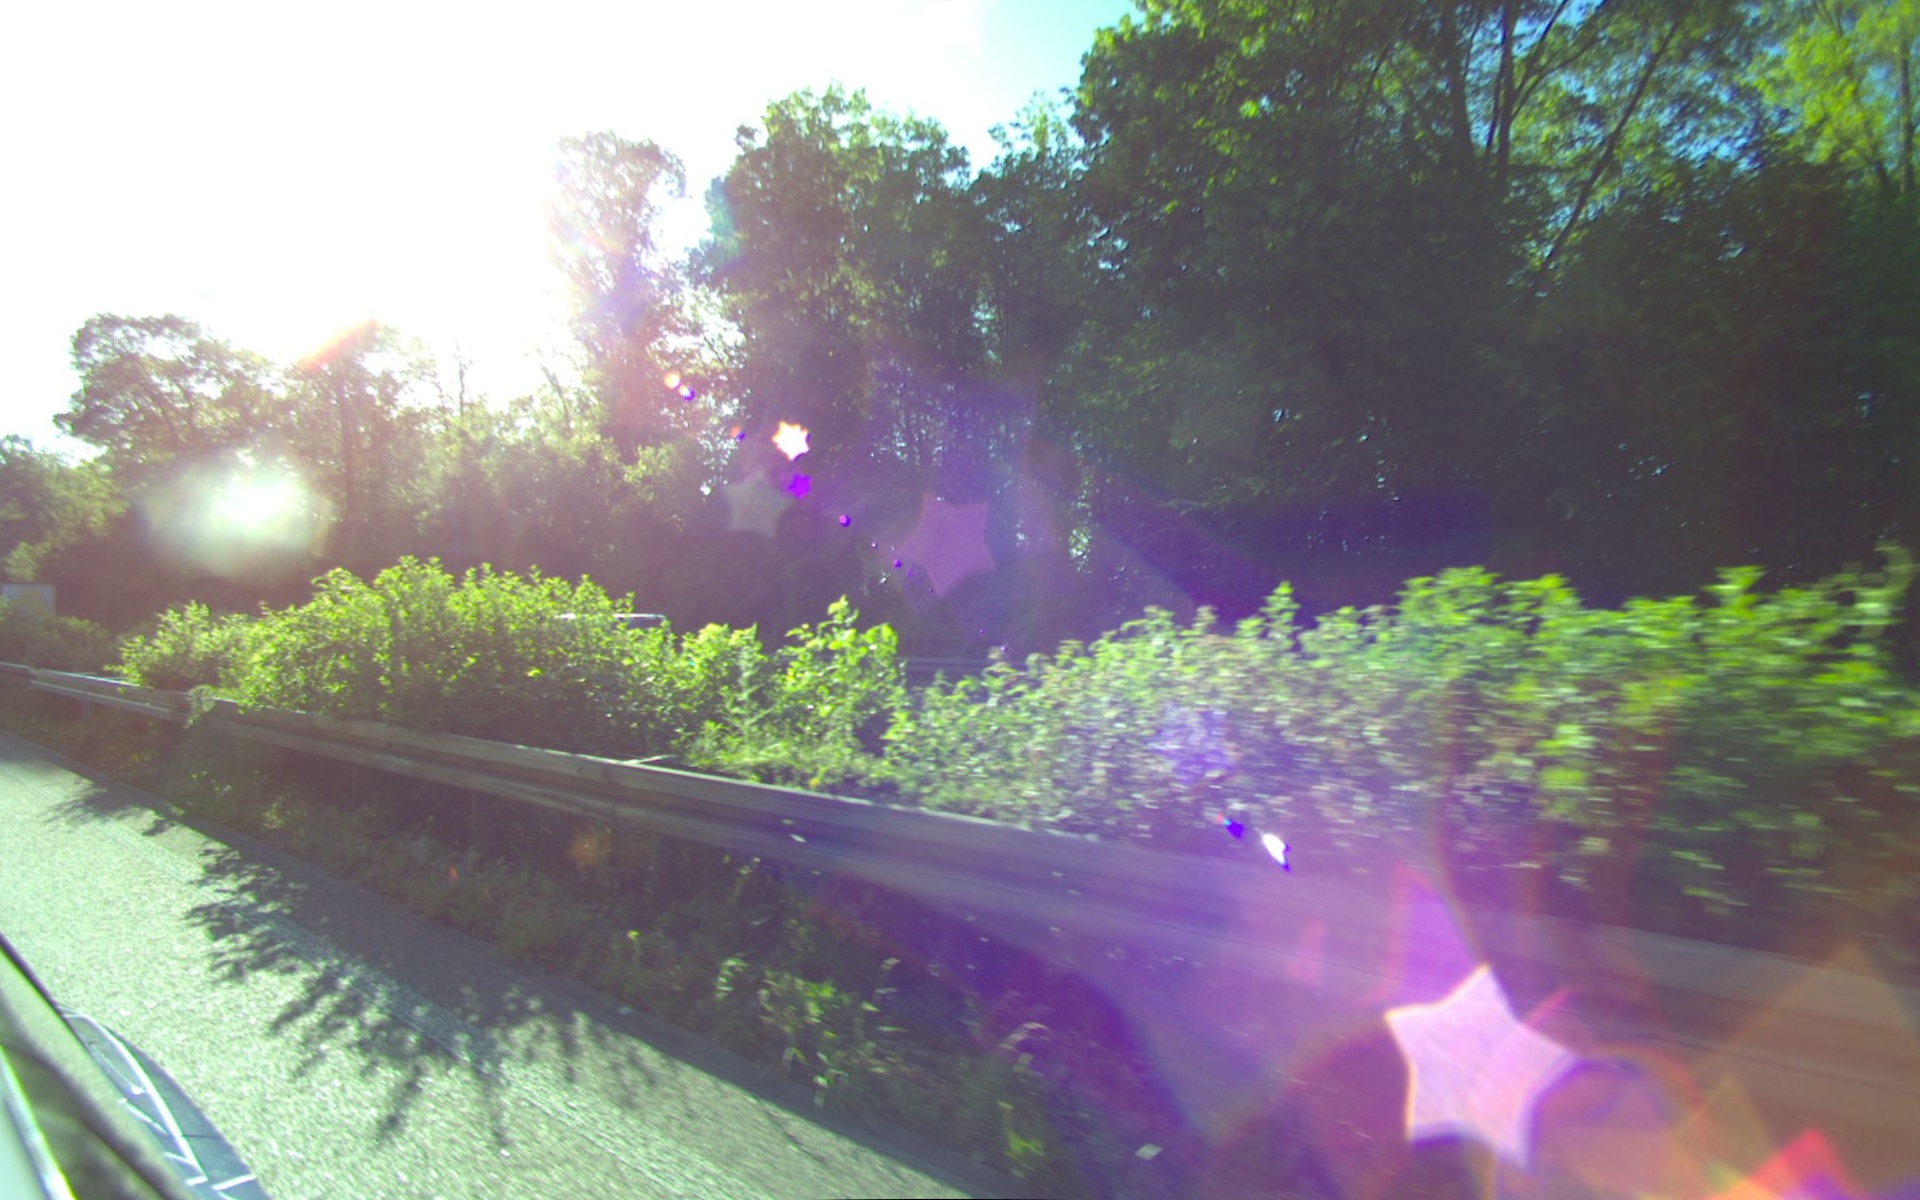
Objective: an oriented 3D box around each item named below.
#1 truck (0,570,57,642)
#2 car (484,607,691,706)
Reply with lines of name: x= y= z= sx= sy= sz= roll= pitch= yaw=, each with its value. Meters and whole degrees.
truck: x=-59.860 y=0.391 z=63.367 sx=14.005 sy=4.127 sz=2.681 roll=-1 pitch=0 yaw=39
car: x=-7.985 y=1.100 z=21.492 sx=4.704 sy=1.875 sz=1.975 roll=-1 pitch=0 yaw=38
